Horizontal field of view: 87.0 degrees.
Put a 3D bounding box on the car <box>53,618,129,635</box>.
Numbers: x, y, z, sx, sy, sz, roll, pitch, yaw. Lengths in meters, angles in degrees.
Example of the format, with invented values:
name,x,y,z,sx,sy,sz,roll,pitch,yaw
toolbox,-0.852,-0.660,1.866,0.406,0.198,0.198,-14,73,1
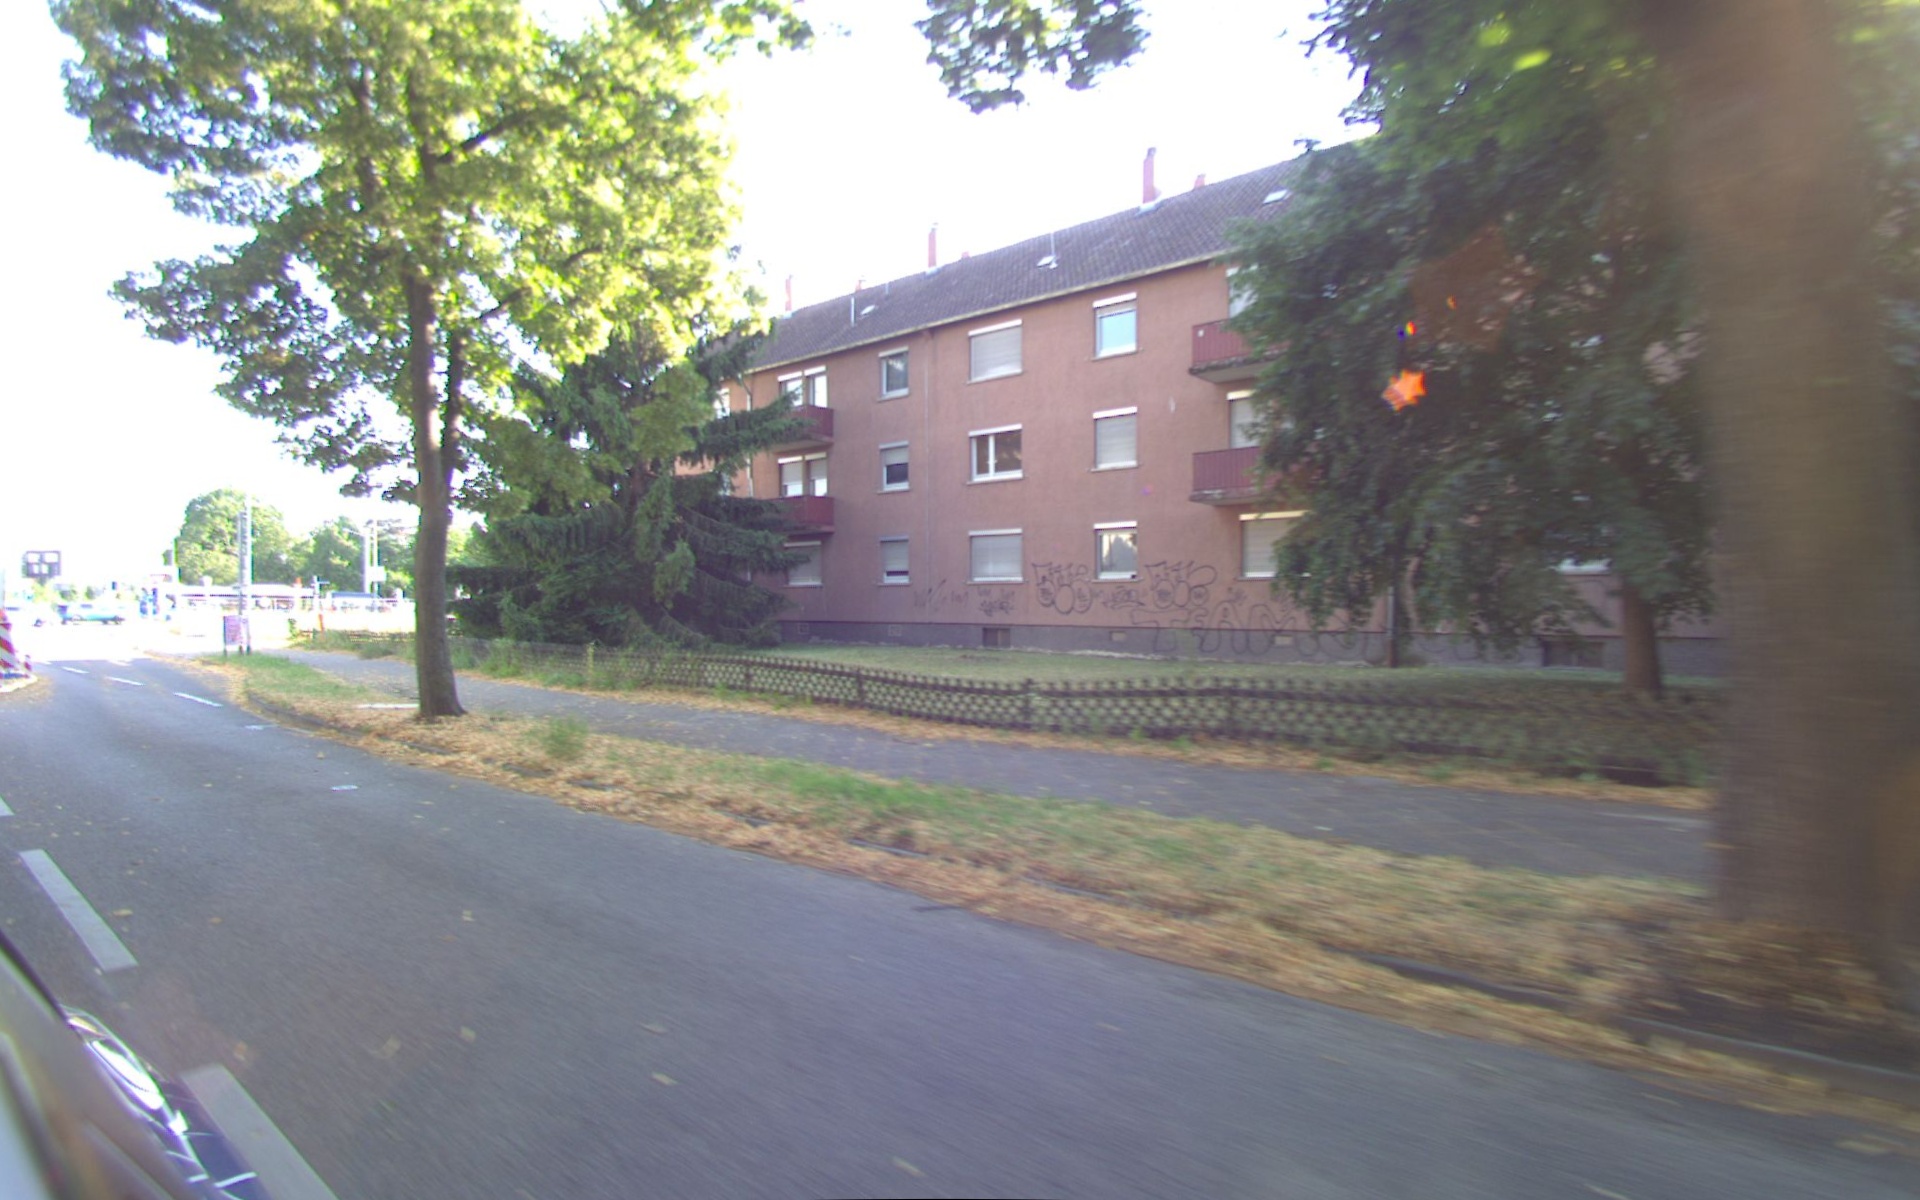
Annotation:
name,x,y,z,sx,sy,sz,roll,pitch,yaw
car,-63.836,1.928,74.407,1.634,1.187,3.970,-1,-1,22

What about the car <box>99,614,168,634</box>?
name,x,y,z,sx,sy,sz,roll,pitch,yaw
car,-64.975,1.873,79.603,1.761,1.541,3.982,0,-1,14

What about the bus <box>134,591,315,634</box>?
name,x,y,z,sx,sy,sz,roll,pitch,yaw
bus,-57.217,0.901,79.346,2.647,3.085,12.097,0,0,20
